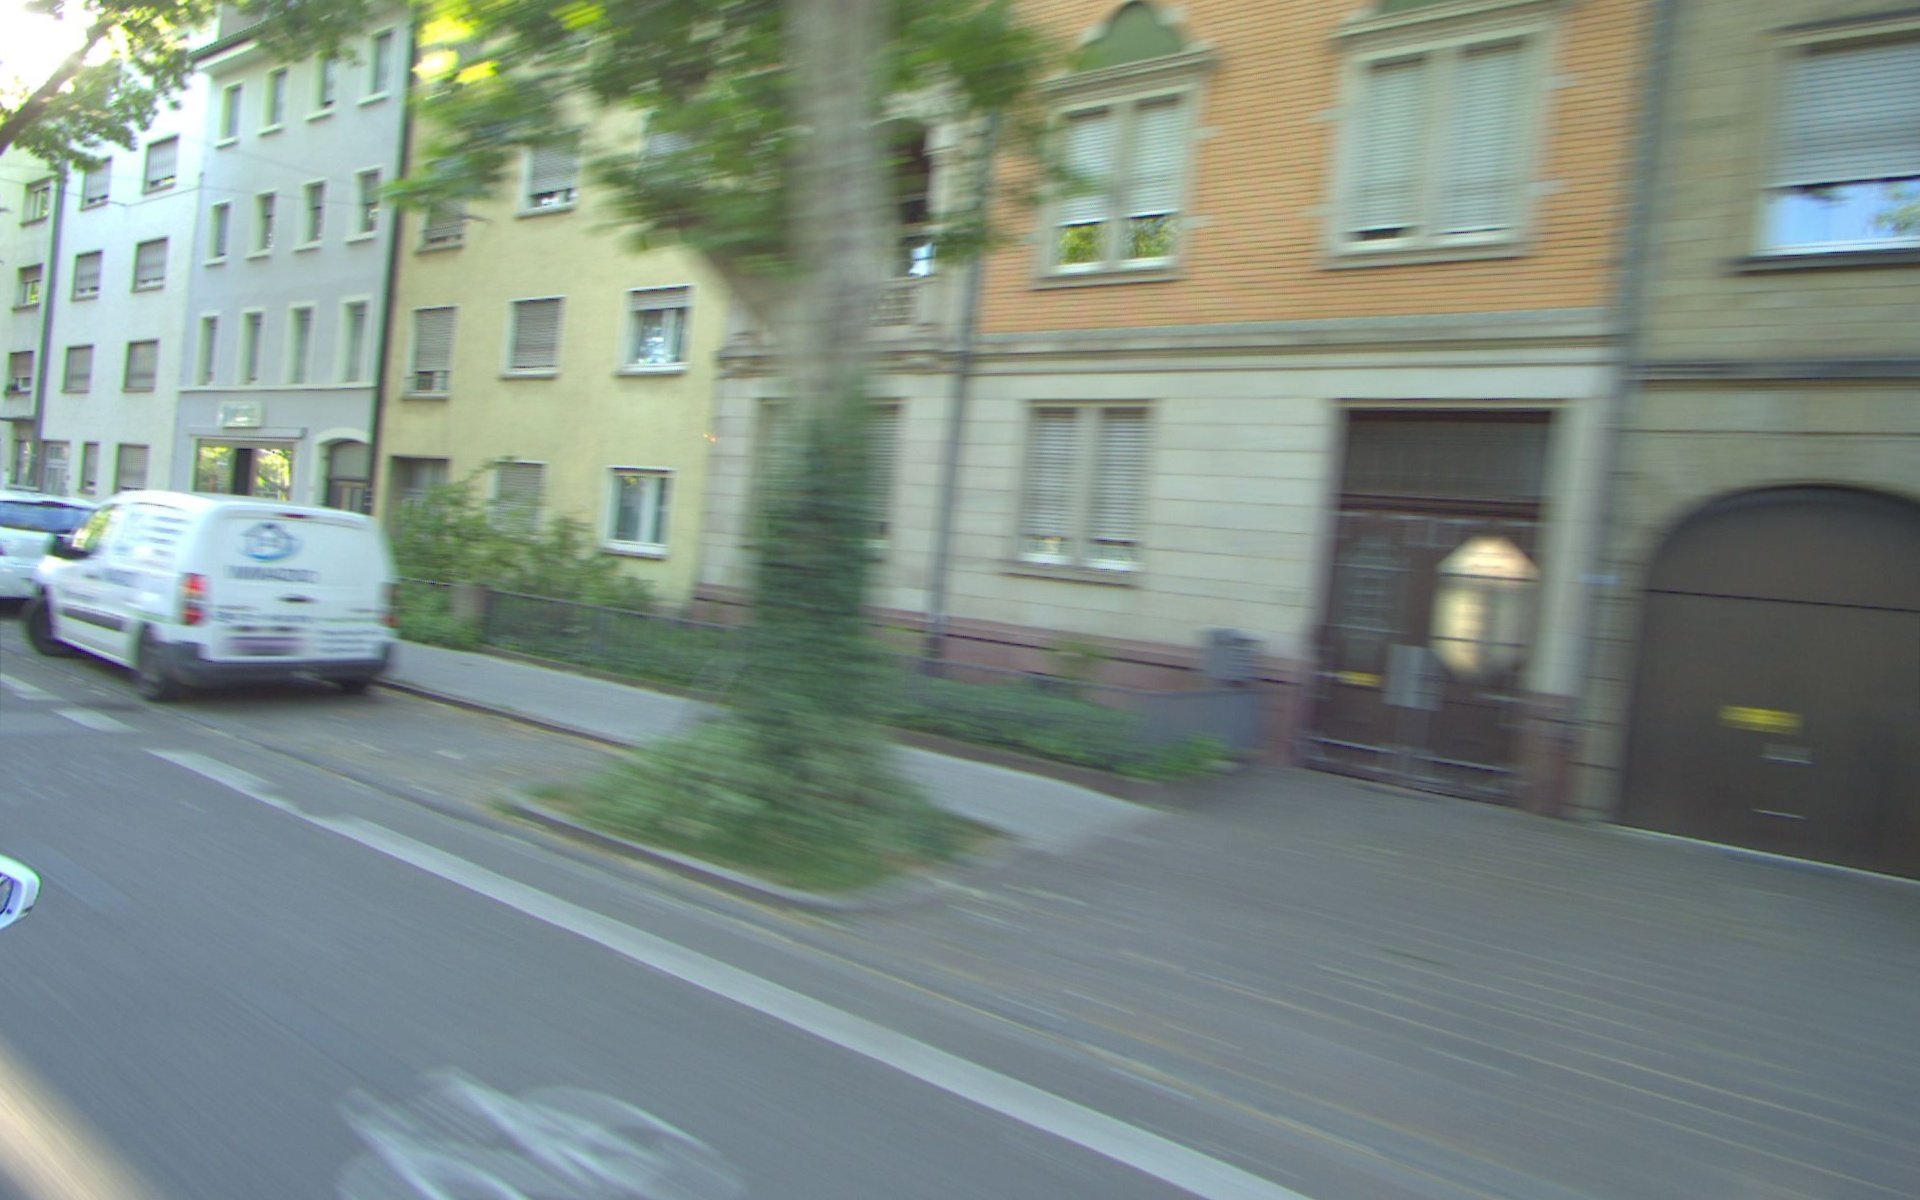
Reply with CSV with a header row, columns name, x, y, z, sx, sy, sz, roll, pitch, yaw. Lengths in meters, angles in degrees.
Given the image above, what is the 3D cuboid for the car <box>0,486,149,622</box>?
name,x,y,z,sx,sy,sz,roll,pitch,yaw
car,-12.495,-0.713,13.133,3.933,1.505,1.647,7,1,31

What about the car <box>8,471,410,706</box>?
name,x,y,z,sx,sy,sz,roll,pitch,yaw
car,-7.413,-0.189,9.790,4.324,1.792,1.744,6,1,34
